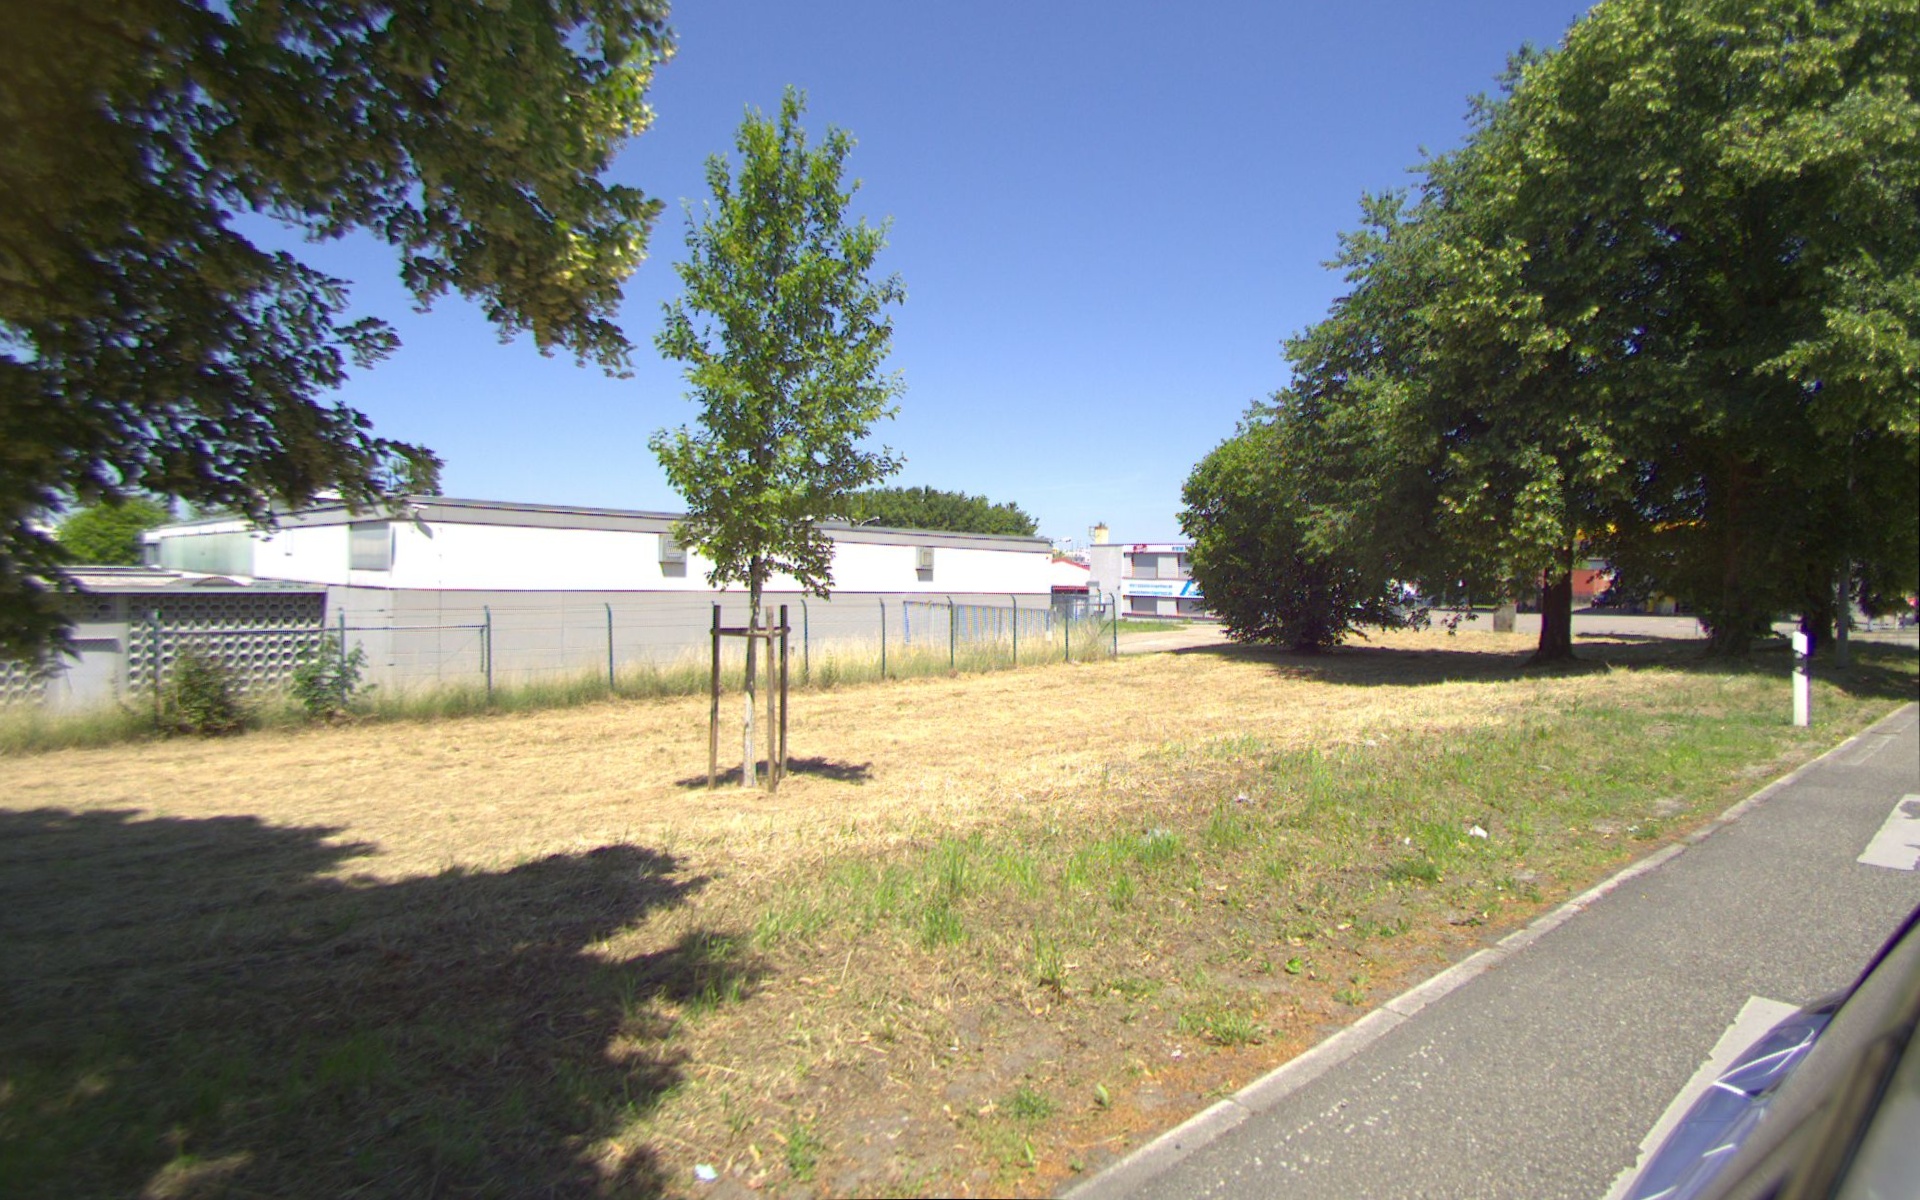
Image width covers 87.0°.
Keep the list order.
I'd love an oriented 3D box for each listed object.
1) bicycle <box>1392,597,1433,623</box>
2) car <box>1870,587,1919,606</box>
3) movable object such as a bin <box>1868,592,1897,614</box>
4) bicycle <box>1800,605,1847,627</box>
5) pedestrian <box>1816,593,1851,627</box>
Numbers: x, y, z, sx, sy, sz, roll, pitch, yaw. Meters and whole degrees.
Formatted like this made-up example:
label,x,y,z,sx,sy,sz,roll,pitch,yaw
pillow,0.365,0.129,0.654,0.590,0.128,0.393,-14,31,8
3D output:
label,x,y,z,sx,sy,sz,roll,pitch,yaw
bicycle,20.611,0.446,46.099,0.459,1.111,1.696,-1,1,-40
car,81.423,-0.281,87.396,4.224,1.553,1.928,3,2,43
movable object such as a bin,65.018,0.178,71.331,1.435,1.455,1.444,4,3,44
bicycle,37.278,0.686,43.702,1.570,0.923,0.378,0,0,7
pedestrian,37.264,0.413,43.176,0.853,1.439,0.770,0,0,6
